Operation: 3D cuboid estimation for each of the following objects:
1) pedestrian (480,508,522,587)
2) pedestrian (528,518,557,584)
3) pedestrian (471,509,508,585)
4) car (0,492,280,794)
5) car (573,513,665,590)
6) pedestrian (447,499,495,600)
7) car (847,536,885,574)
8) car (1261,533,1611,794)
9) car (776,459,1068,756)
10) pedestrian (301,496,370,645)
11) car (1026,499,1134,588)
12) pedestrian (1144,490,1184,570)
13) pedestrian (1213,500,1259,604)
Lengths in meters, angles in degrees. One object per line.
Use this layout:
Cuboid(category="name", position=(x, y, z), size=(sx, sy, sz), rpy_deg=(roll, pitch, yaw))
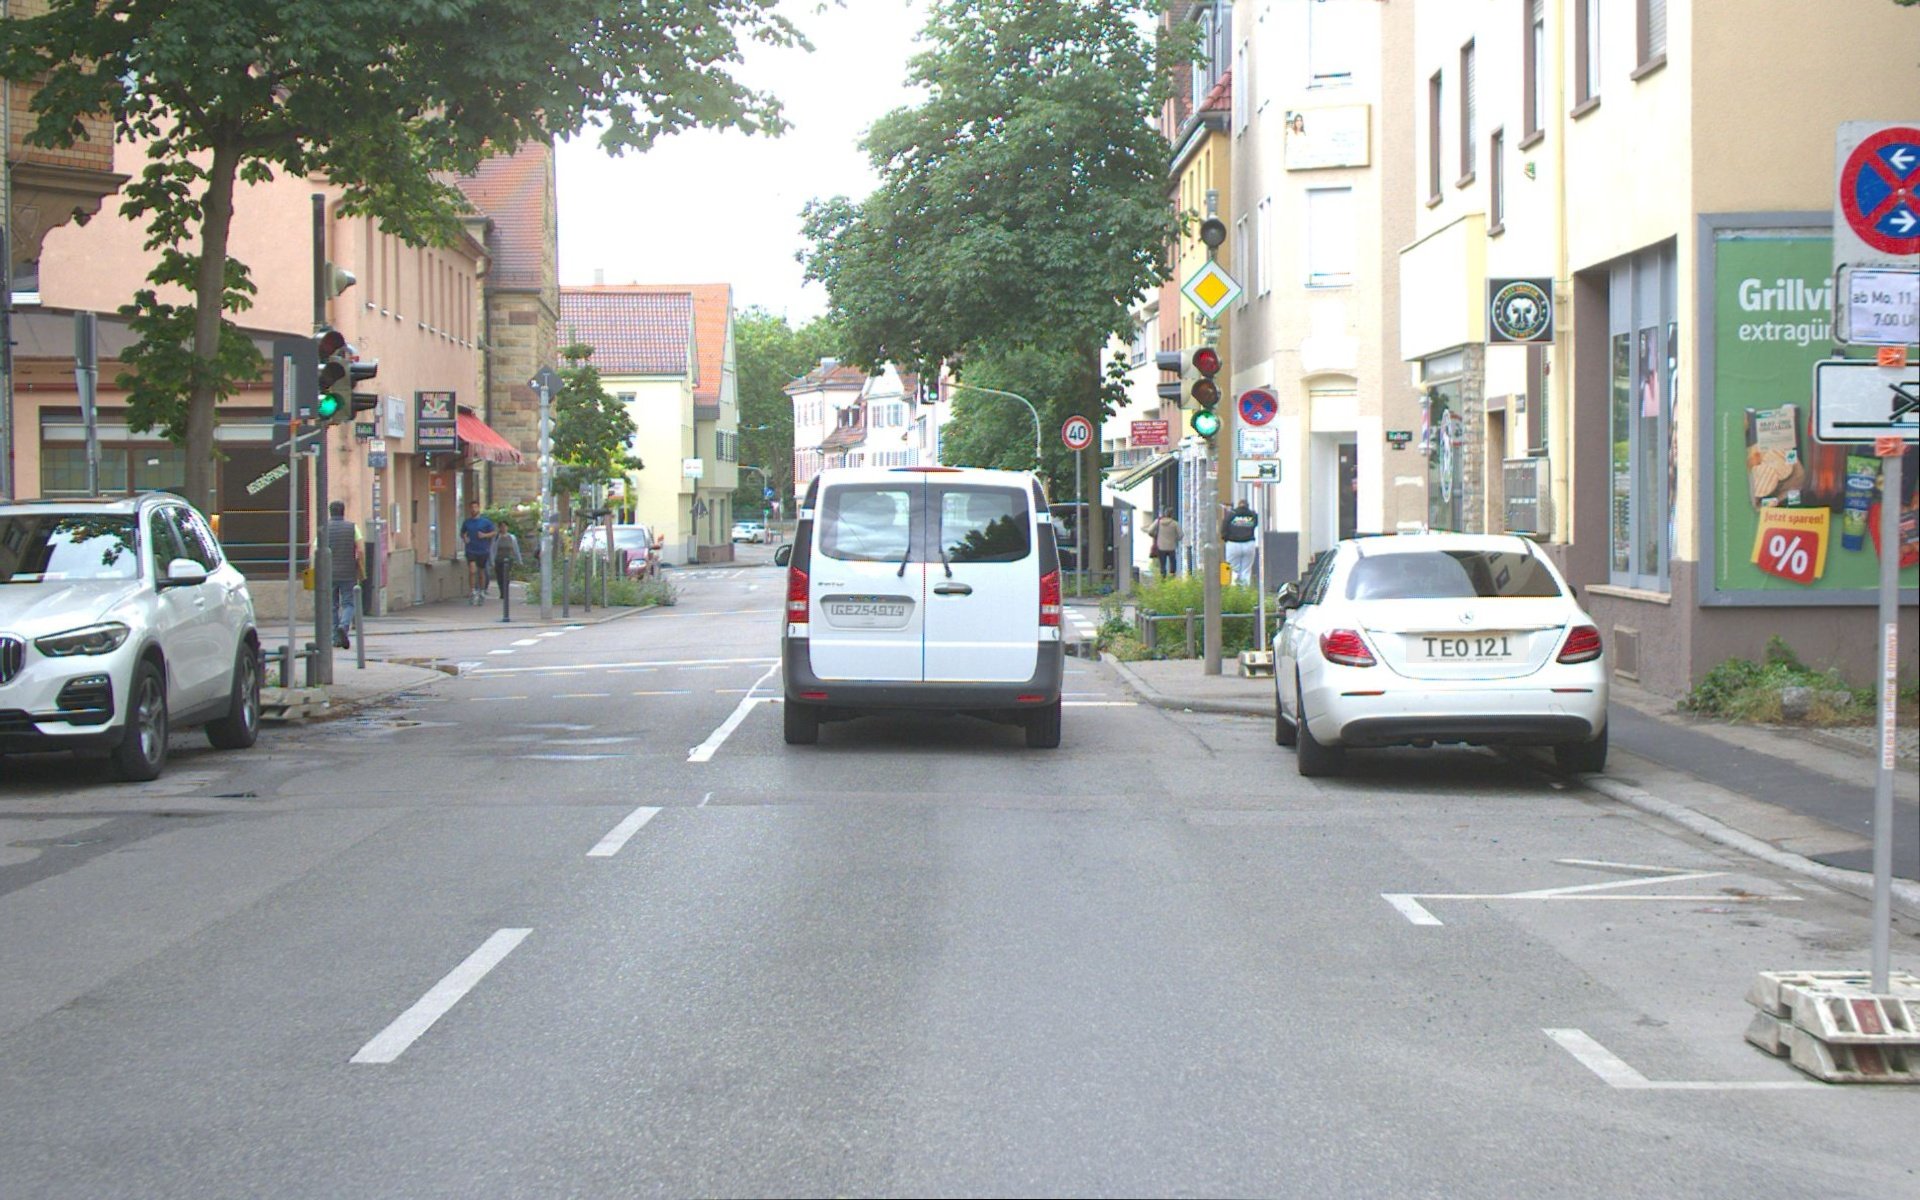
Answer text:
Cuboid(category="pedestrian", position=(-8.991, -1.037, 67.340), size=(0.738, 1.529, 0.983), rpy_deg=(0, 1, -3))
Cuboid(category="pedestrian", position=(-9.911, -1.169, 81.635), size=(0.571, 1.549, 0.697), rpy_deg=(1, 1, -1))
Cuboid(category="pedestrian", position=(-10.062, -1.138, 73.482), size=(0.730, 1.623, 0.759), rpy_deg=(-1, 1, -11))
Cuboid(category="car", position=(-5.794, 0.207, 22.022), size=(1.891, 1.706, 4.741), rpy_deg=(-2, 1, 0))
Cuboid(category="car", position=(-7.517, -1.092, 76.138), size=(1.702, 1.568, 4.451), rpy_deg=(-2, 2, -2))
Cuboid(category="pedestrian", position=(-8.424, -0.876, 59.277), size=(0.738, 1.712, 1.157), rpy_deg=(0, 1, -4))
Cuboid(category="car", position=(-5.145, -2.467, 188.055), size=(1.934, 2.007, 4.001), rpy_deg=(1, 1, -3))
Cuboid(category="car", position=(2.930, 0.314, 22.050), size=(1.767, 1.461, 4.783), rpy_deg=(0, 1, 2))
Cuboid(category="car", position=(-0.276, 0.003, 24.165), size=(1.872, 1.905, 4.000), rpy_deg=(0, 1, -1))
Cuboid(category="pedestrian", position=(-7.413, -0.362, 40.827), size=(0.738, 1.748, 0.983), rpy_deg=(0, 1, -6))
Cuboid(category="car", position=(2.449, -1.169, 70.942), size=(1.819, 1.775, 4.404), rpy_deg=(0, 1, -3))
Cuboid(category="pedestrian", position=(4.276, -1.476, 72.143), size=(0.701, 1.643, 0.889), rpy_deg=(-1, 1, -2))
Cuboid(category="pedestrian", position=(4.414, -0.779, 54.983), size=(0.614, 1.647, 0.983), rpy_deg=(0, 1, -2))
